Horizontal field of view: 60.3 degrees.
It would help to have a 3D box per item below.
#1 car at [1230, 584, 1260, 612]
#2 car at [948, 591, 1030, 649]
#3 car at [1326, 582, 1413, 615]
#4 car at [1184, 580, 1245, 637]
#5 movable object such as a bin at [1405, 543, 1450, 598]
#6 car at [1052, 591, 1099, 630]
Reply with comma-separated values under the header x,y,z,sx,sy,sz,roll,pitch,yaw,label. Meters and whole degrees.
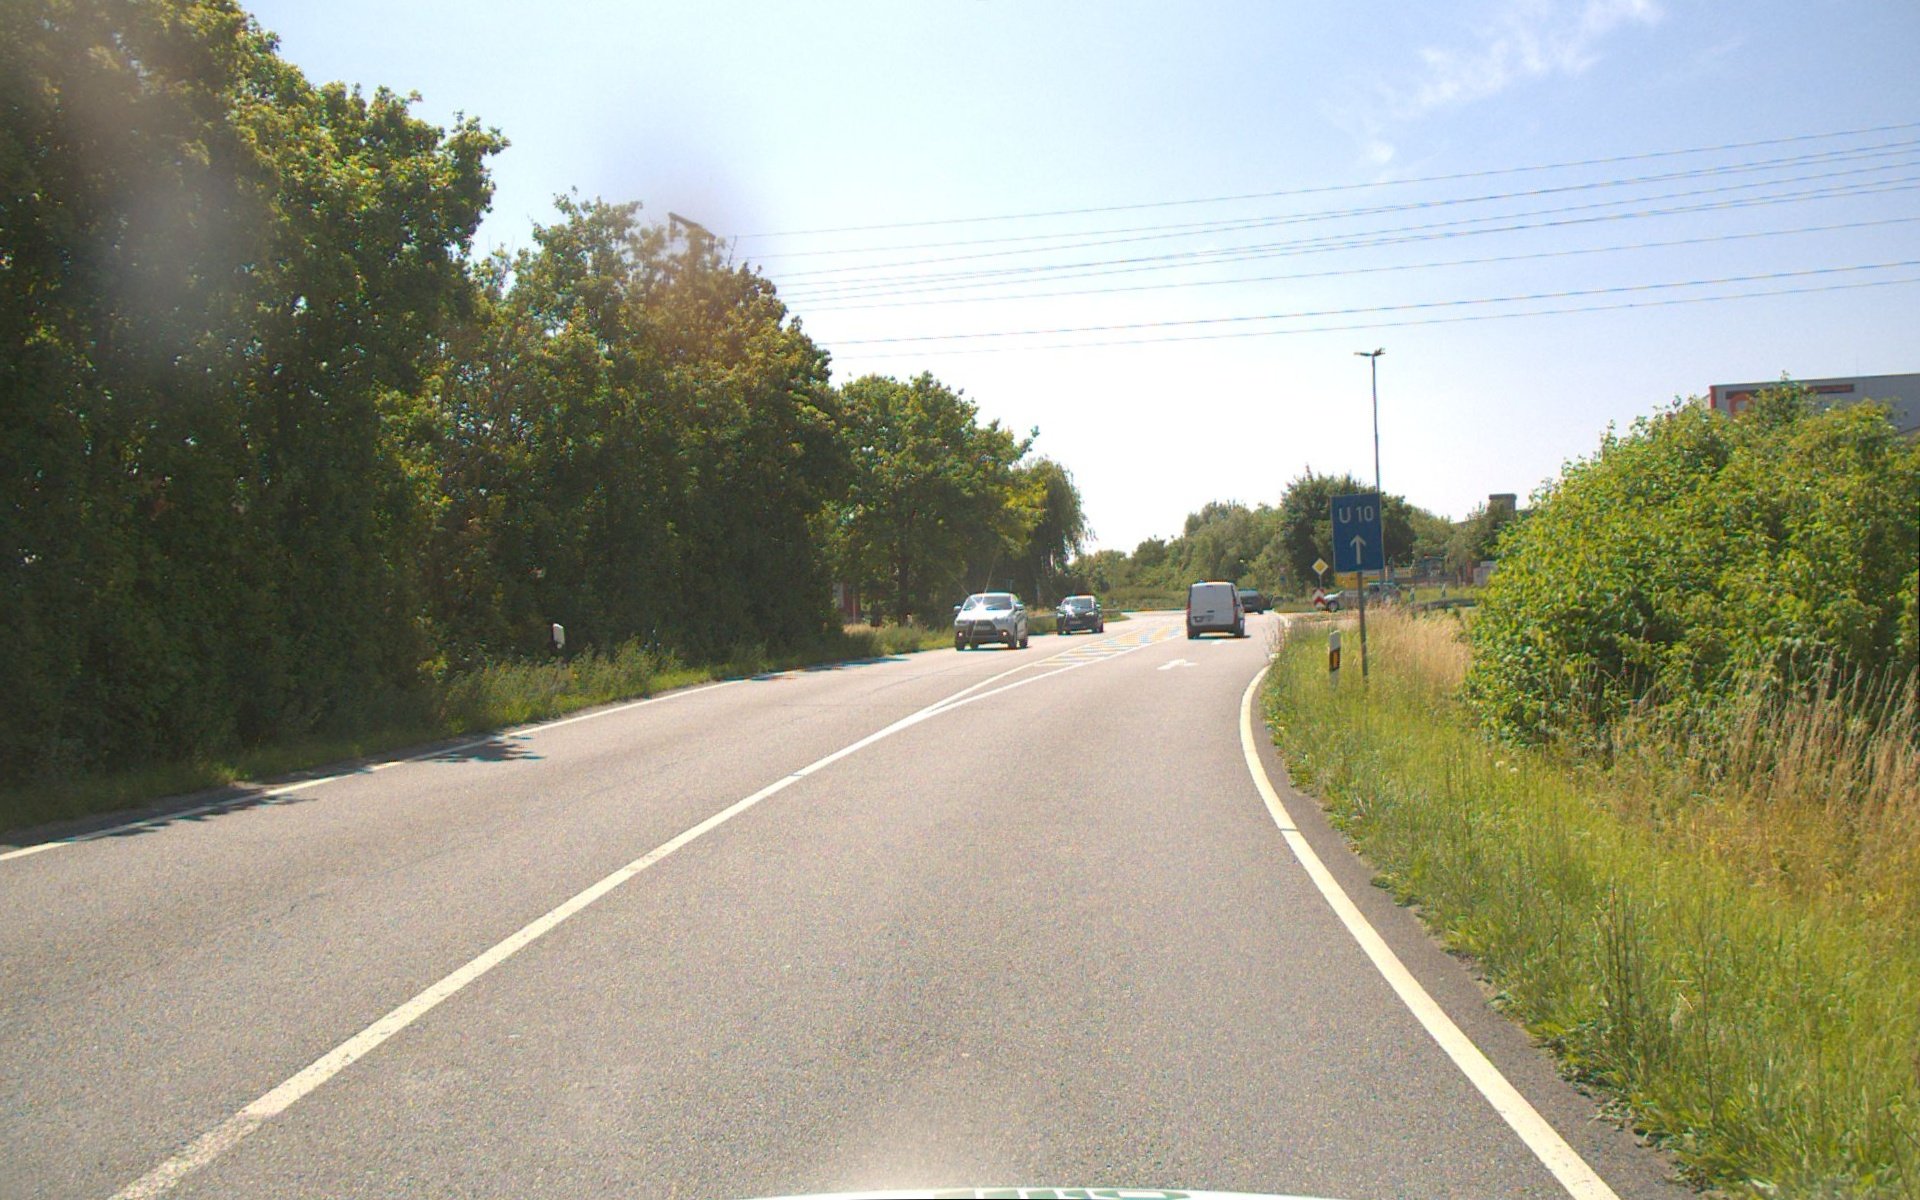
x,y,z,sx,sy,sz,roll,pitch,yaw,label
17.776,-0.125,103.215,1.767,1.583,4.004,-2,1,10,car
0.891,0.547,48.131,1.704,1.617,4.534,0,0,10,car
22.089,-0.089,89.431,4.415,1.534,1.916,-3,0,11,car
8.361,0.292,54.427,1.863,1.763,3.825,-2,-1,9,car
30.595,-1.874,108.353,2.273,3.307,5.105,-1,-2,10,movable object such as a bin
4.977,0.440,70.892,1.695,1.618,3.961,-1,0,8,car
